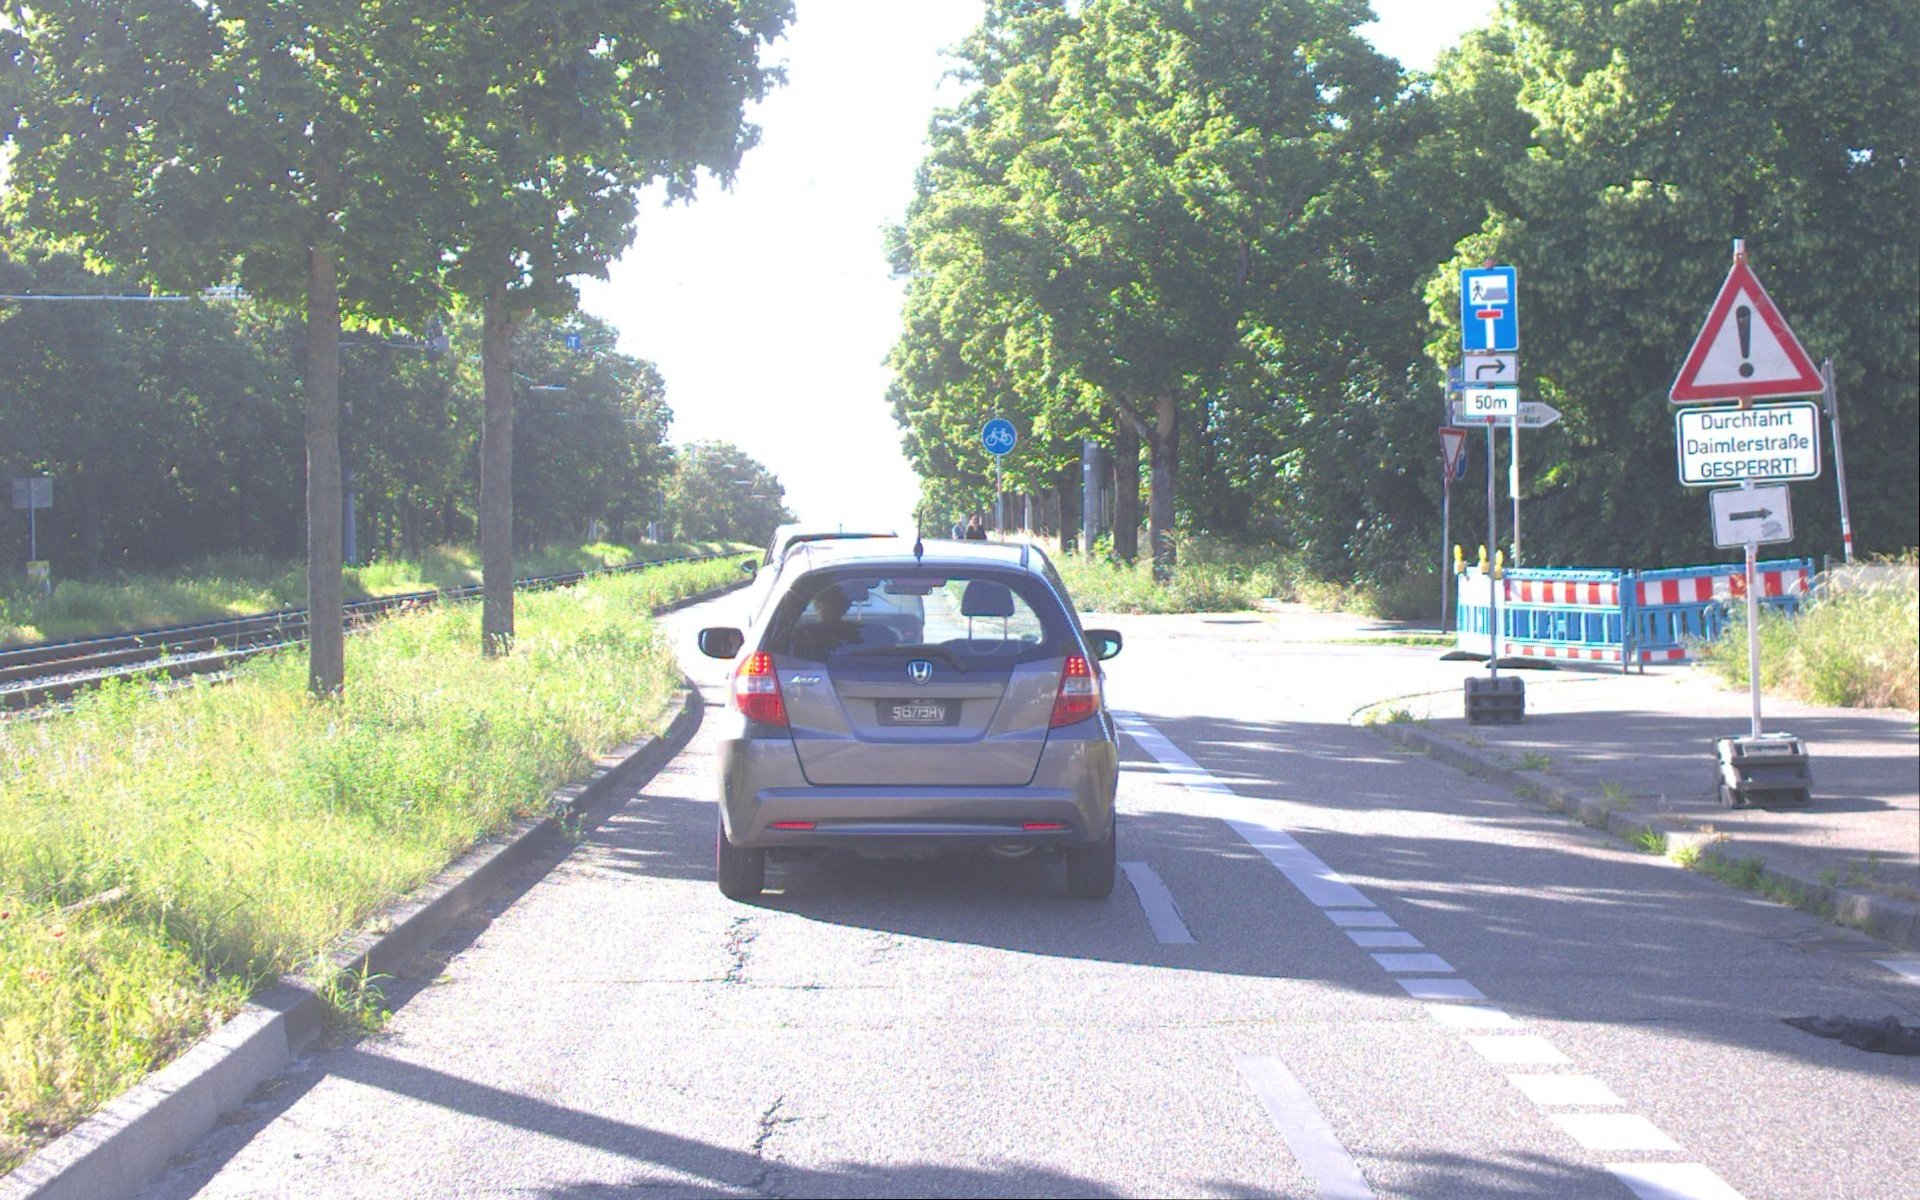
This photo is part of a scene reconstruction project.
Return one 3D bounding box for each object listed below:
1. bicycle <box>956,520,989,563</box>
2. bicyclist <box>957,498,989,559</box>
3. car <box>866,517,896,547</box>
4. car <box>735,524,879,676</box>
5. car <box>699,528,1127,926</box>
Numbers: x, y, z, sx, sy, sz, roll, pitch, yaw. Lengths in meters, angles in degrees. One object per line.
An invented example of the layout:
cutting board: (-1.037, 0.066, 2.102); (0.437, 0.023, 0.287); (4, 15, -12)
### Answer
bicycle: (0.327, -1.491, 88.387); (0.818, 1.044, 2.506); (0, -1, 1)
bicyclist: (0.340, -1.835, 88.409); (0.818, 1.519, 0.966); (0, -1, 1)
car: (-5.687, -4.863, 247.569); (1.993, 2.007, 4.000); (-3, 0, 0)
car: (-1.584, -0.003, 36.373); (1.351, 1.522, 3.123); (-1, 0, 0)
car: (-0.252, 0.471, 15.524); (1.670, 1.510, 3.674); (1, 2, -2)
